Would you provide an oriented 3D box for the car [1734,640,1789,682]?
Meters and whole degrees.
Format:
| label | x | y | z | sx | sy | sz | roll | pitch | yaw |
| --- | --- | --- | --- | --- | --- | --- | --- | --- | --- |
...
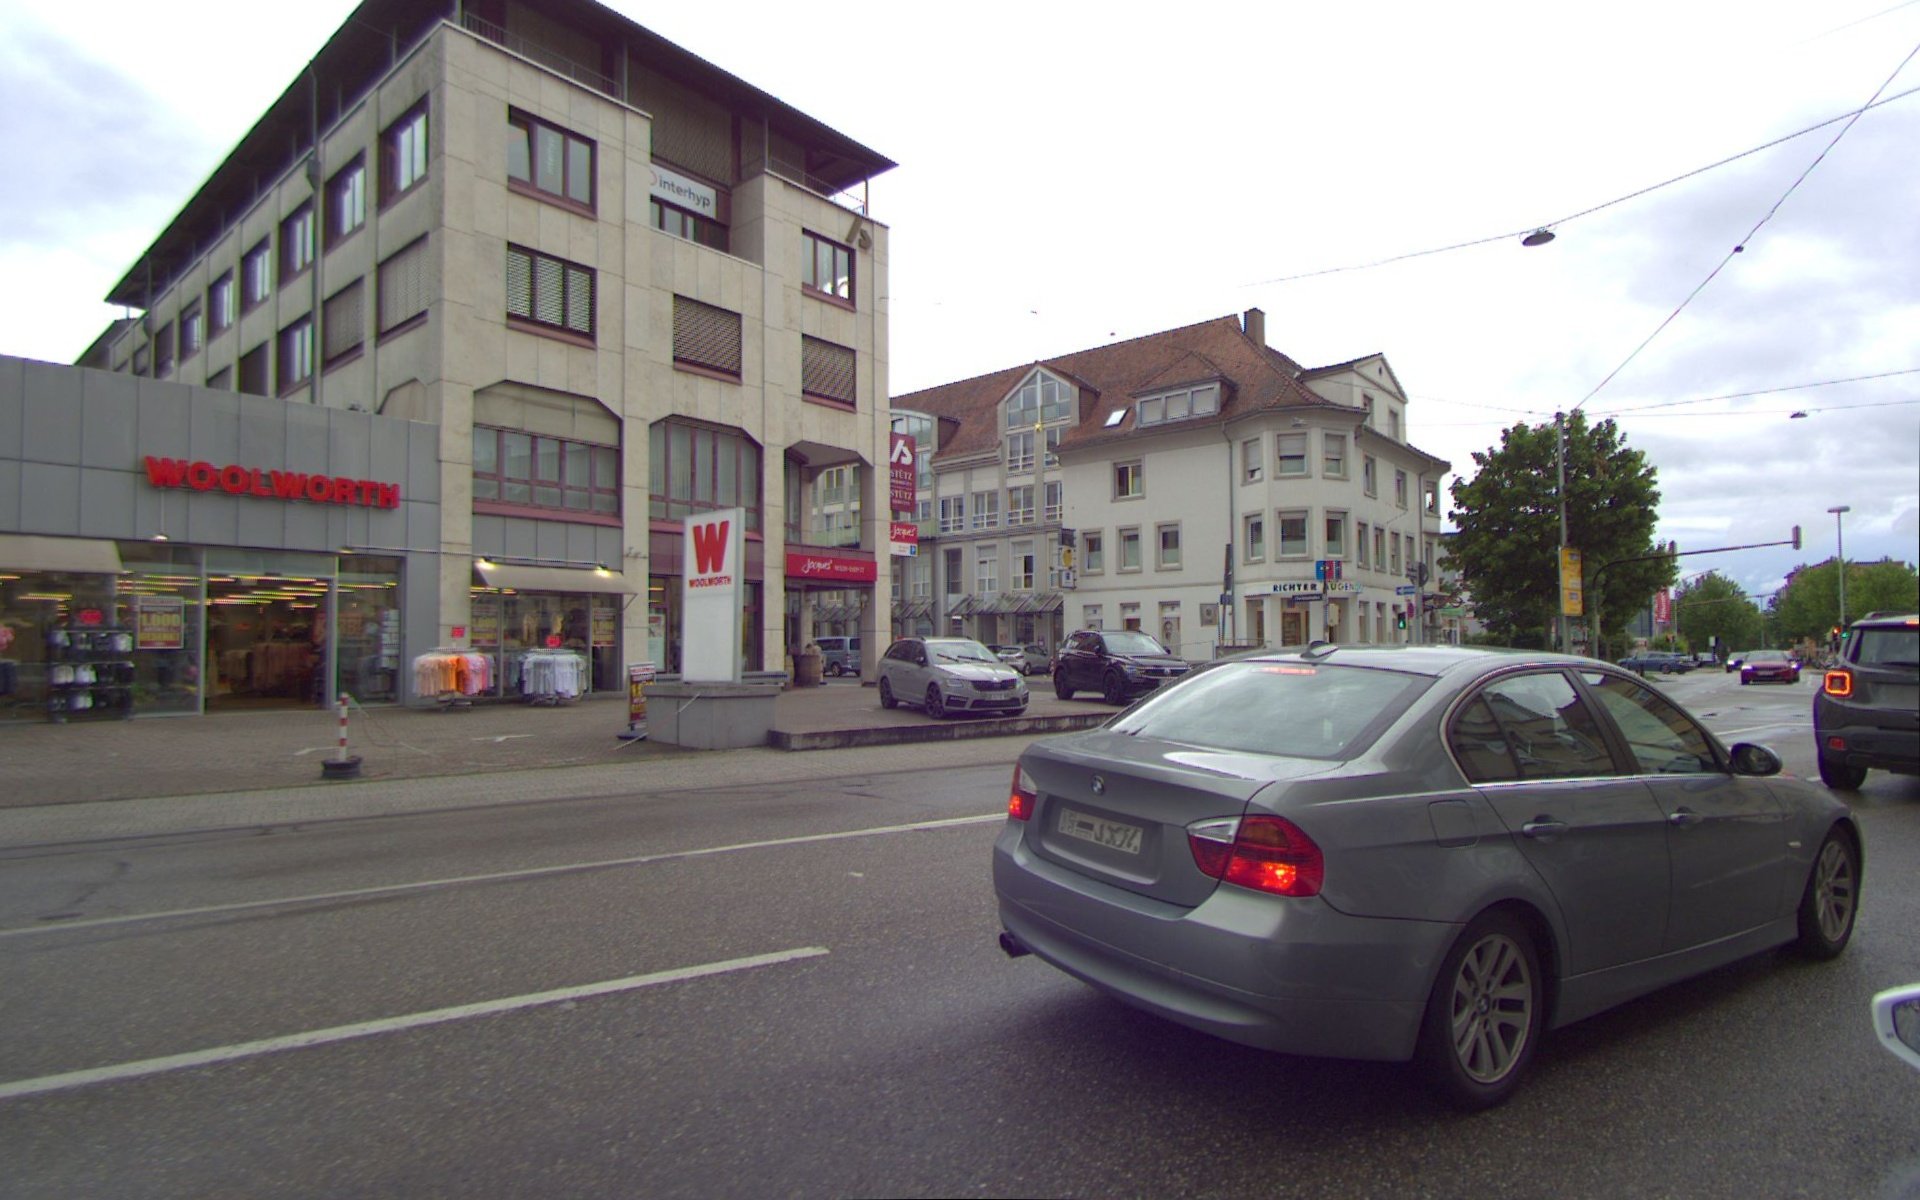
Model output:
| label | x | y | z | sx | sy | sz | roll | pitch | yaw |
| --- | --- | --- | --- | --- | --- | --- | --- | --- | --- |
| car | 34.814 | 2.623 | 43.694 | 1.821 | 1.706 | 3.984 | 0 | -2 | 38 |

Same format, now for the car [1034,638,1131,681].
| label | x | y | z | sx | sy | sz | roll | pitch | yaw |
| --- | --- | --- | --- | --- | --- | --- | --- | --- | --- |
| car | 5.534 | 2.681 | 45.663 | 3.939 | 1.839 | 1.992 | -2 | -3 | 39 |

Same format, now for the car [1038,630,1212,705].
| label | x | y | z | sx | sy | sz | roll | pitch | yaw |
| --- | --- | --- | --- | --- | --- | --- | --- | --- | --- |
| car | 3.582 | 1.492 | 22.714 | 1.925 | 1.525 | 4.412 | 1 | -3 | -21 |

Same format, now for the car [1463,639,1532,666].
| label | x | y | z | sx | sy | sz | roll | pitch | yaw |
| --- | --- | --- | --- | --- | --- | --- | --- | --- | --- |
| car | 38.343 | 3.759 | 71.707 | 1.813 | 1.906 | 3.948 | 2 | -4 | -44 |

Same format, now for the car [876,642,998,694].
| label | x | y | z | sx | sy | sz | roll | pitch | yaw |
| --- | --- | --- | --- | --- | --- | --- | --- | --- | --- |
| car | -0.775 | 2.254 | 33.239 | 3.698 | 1.519 | 1.578 | 4 | -4 | -15 |

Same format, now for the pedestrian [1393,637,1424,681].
| label | x | y | z | sx | sy | sz | roll | pitch | yaw |
| --- | --- | --- | --- | --- | --- | --- | --- | --- | --- |
| pedestrian | 17.894 | 2.346 | 40.106 | 0.949 | 1.731 | 0.932 | -2 | -2 | 35 |

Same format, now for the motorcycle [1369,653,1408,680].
| label | x | y | z | sx | sy | sz | roll | pitch | yaw |
| --- | --- | --- | --- | --- | --- | --- | --- | --- | --- |
| motorcycle | 19.475 | 3.008 | 45.624 | 0.712 | 1.193 | 2.573 | -3 | -3 | 44 |

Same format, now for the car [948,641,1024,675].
| label | x | y | z | sx | sy | sz | roll | pitch | yaw |
| --- | --- | --- | --- | --- | --- | --- | --- | --- | --- |
| car | 1.344 | 2.900 | 50.591 | 1.845 | 1.611 | 3.985 | -2 | -3 | 37 |

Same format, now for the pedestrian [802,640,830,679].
| label | x | y | z | sx | sy | sz | roll | pitch | yaw |
| --- | --- | --- | --- | --- | --- | --- | --- | --- | --- |
| pedestrian | -7.148 | 2.941 | 49.787 | 1.168 | 1.852 | 1.062 | 0 | -2 | -21 |

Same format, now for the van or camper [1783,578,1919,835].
| label | x | y | z | sx | sy | sz | roll | pitch | yaw |
| --- | --- | --- | --- | --- | --- | --- | --- | --- | --- |
| van or camper | 9.820 | 0.942 | 9.636 | 4.099 | 2.174 | 1.844 | 1 | -3 | -34 |

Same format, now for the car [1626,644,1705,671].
| label | x | y | z | sx | sy | sz | roll | pitch | yaw |
| --- | --- | --- | --- | --- | --- | --- | --- | --- | --- |
| car | 48.119 | 3.893 | 68.576 | 1.978 | 1.773 | 3.966 | 1 | -3 | -32 |

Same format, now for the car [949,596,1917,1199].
| label | x | y | z | sx | sy | sz | roll | pitch | yaw |
| --- | --- | --- | --- | --- | --- | --- | --- | --- | --- |
| car | 2.248 | 0.841 | 4.400 | 4.323 | 1.483 | 1.790 | 2 | -3 | -32 |

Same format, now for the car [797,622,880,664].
| label | x | y | z | sx | sy | sz | roll | pitch | yaw |
| --- | --- | --- | --- | --- | --- | --- | --- | --- | --- |
| car | -6.153 | 2.203 | 50.834 | 3.939 | 2.040 | 1.992 | -3 | -3 | 39 |

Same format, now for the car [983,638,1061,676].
| label | x | y | z | sx | sy | sz | roll | pitch | yaw |
| --- | --- | --- | --- | --- | --- | --- | --- | --- | --- |
| car | 3.052 | 2.775 | 49.015 | 1.968 | 1.752 | 3.986 | -2 | -3 | 36 |

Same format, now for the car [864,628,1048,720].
| label | x | y | z | sx | sy | sz | roll | pitch | yaw |
| --- | --- | --- | --- | --- | --- | --- | --- | --- | --- |
| car | -0.217 | 1.355 | 19.463 | 1.861 | 1.546 | 4.432 | 1 | -3 | -26 |

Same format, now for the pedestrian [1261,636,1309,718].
| label | x | y | z | sx | sy | sz | roll | pitch | yaw |
| --- | --- | --- | --- | --- | --- | --- | --- | --- | --- |
| pedestrian | 6.387 | 1.492 | 19.727 | 0.751 | 1.549 | 0.506 | 0 | -2 | 39 |
